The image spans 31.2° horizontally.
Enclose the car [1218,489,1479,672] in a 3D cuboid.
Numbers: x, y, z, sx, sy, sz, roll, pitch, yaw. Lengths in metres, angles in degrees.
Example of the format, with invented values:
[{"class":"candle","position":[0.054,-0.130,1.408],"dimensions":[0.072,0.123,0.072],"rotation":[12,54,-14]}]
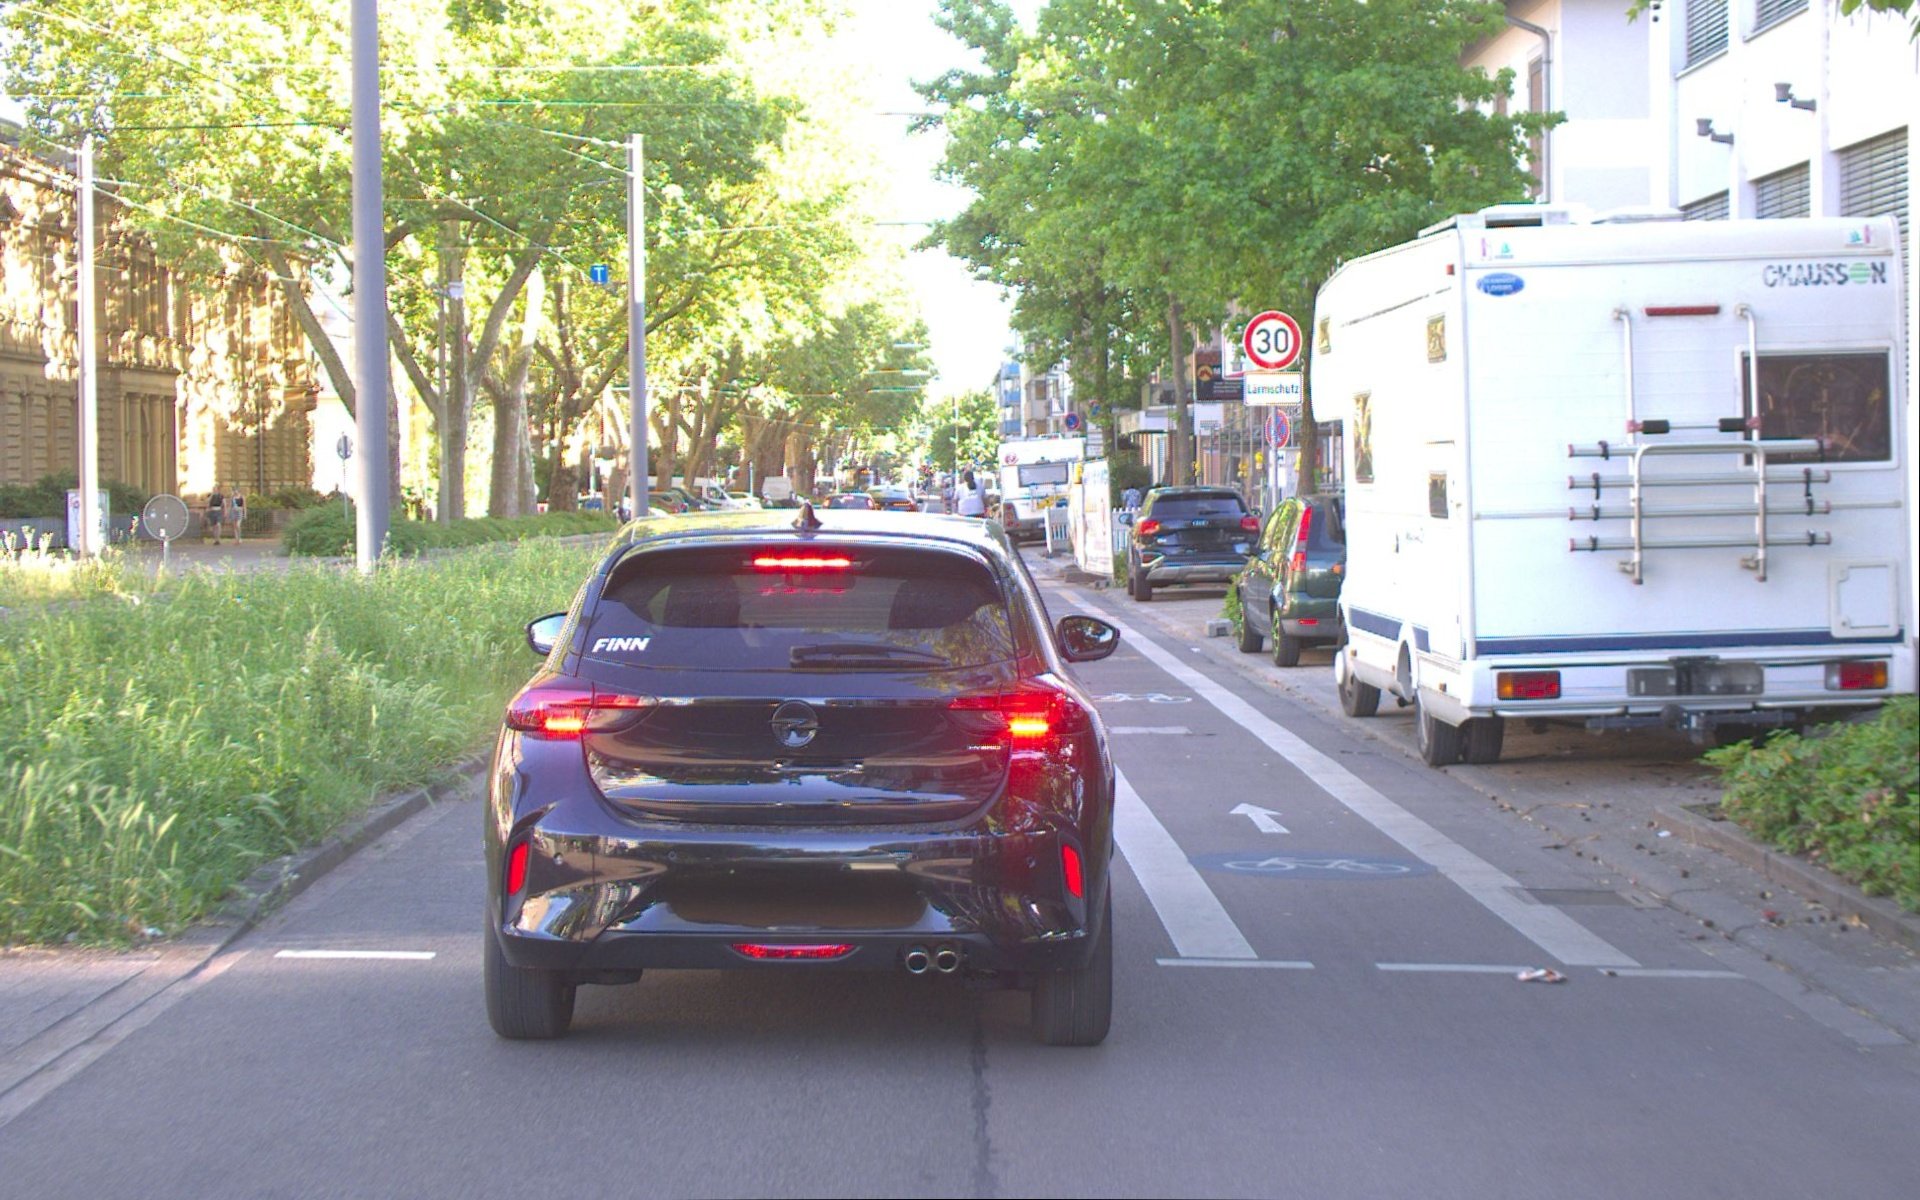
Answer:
[{"class":"car","position":[3.339,-0.227,30.210],"dimensions":[1.685,1.415,4.049],"rotation":[0,3,-2]}]

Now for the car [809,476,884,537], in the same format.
[{"class":"car","position":[-2.984,-2.493,91.233],"dimensions":[1.790,1.505,3.874],"rotation":[-1,3,1]}]

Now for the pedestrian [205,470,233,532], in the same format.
[{"class":"pedestrian","position":[-21.015,-2.821,97.556],"dimensions":[0.618,1.727,0.596],"rotation":[3,3,-1]}]

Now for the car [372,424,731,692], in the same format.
[{"class":"car","position":[-2.761,-0.378,24.204],"dimensions":[1.993,1.621,4.471],"rotation":[3,3,-1]}]

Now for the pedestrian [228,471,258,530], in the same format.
[{"class":"pedestrian","position":[-20.356,-2.823,97.582],"dimensions":[0.658,1.616,0.615],"rotation":[3,3,-1]}]

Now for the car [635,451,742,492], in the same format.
[{"class":"car","position":[-14.957,-7.097,189.424],"dimensions":[5.687,2.190,2.289],"rotation":[0,3,0]}]

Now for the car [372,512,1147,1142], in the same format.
[{"class":"car","position":[-0.460,0.508,10.585],"dimensions":[1.905,1.420,4.216],"rotation":[1,3,1]}]

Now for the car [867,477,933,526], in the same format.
[{"class":"car","position":[-1.881,-3.137,108.532],"dimensions":[1.905,1.420,4.216],"rotation":[1,3,1]}]

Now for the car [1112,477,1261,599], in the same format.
[{"class":"car","position":[3.063,-0.879,47.030],"dimensions":[1.790,1.505,3.874],"rotation":[-1,3,1]}]

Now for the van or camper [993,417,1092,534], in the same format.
[{"class":"van or camper","position":[2.227,-3.411,93.535],"dimensions":[2.486,2.983,5.435],"rotation":[2,3,1]}]

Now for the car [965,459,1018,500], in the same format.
[{"class":"car","position":[1.187,-4.479,127.445],"dimensions":[1.905,1.420,4.216],"rotation":[1,3,1]}]

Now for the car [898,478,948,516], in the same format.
[{"class":"car","position":[-1.491,-4.213,140.372],"dimensions":[1.905,1.420,4.216],"rotation":[1,3,1]}]

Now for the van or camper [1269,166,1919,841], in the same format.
[{"class":"van or camper","position":[3.448,-0.644,20.118],"dimensions":[2.375,3.114,7.552],"rotation":[-2,3,-1]}]

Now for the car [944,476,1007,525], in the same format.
[{"class":"car","position":[0.500,-3.146,108.038],"dimensions":[1.905,1.420,4.216],"rotation":[1,3,1]}]

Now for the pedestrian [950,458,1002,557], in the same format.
[{"class":"pedestrian","position":[0.330,-1.939,71.492],"dimensions":[1.036,2.017,1.213],"rotation":[1,3,-1]}]
